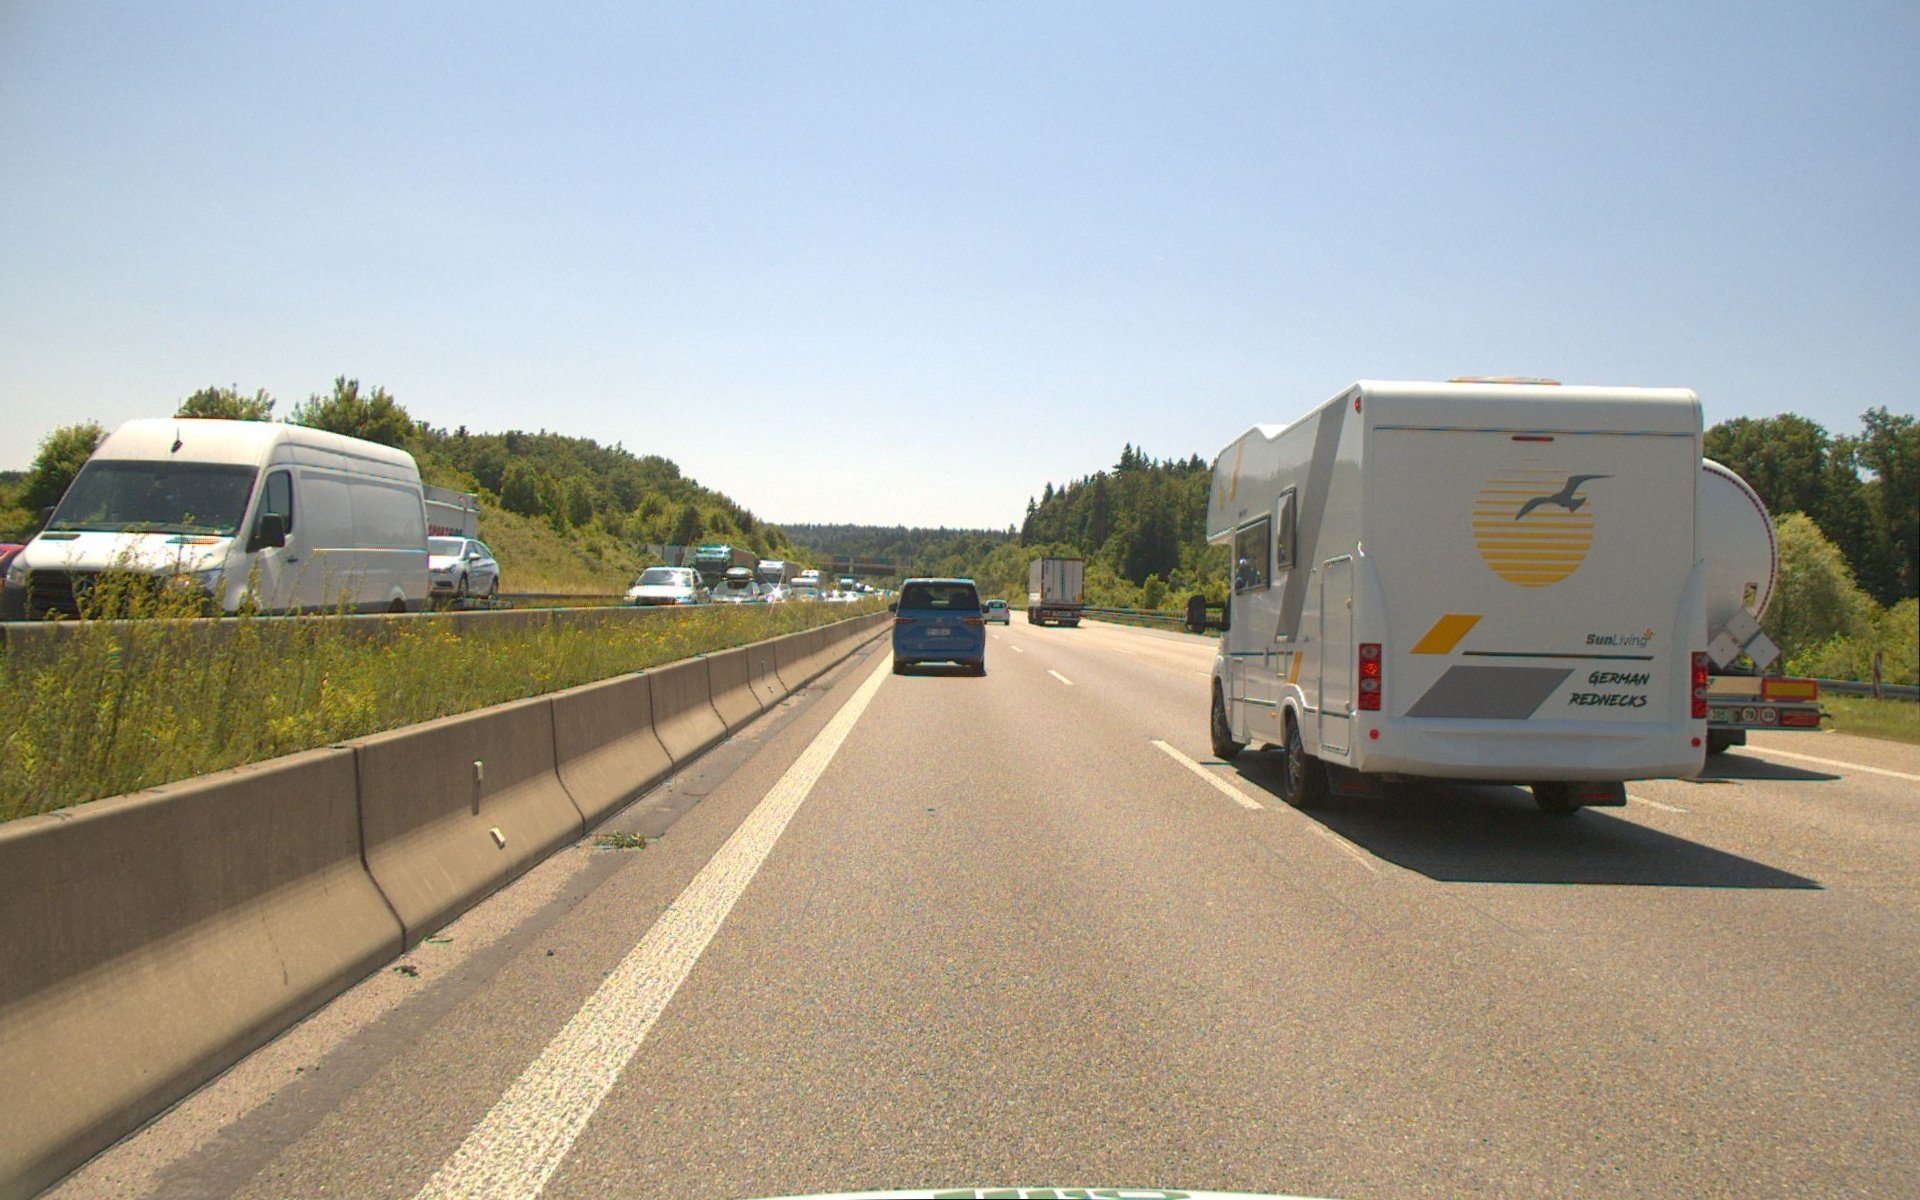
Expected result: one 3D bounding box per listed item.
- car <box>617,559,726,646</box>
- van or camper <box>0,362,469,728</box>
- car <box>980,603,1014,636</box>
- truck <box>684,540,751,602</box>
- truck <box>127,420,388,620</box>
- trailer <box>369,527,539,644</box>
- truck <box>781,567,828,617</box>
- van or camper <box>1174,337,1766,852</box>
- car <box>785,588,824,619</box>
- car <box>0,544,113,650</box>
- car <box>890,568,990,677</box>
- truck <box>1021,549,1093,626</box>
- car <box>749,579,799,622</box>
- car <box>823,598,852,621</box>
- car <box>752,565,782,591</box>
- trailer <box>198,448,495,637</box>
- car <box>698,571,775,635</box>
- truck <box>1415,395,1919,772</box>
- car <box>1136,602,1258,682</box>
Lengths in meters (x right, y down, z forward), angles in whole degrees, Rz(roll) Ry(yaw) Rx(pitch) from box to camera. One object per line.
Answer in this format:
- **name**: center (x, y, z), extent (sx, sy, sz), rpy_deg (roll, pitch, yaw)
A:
- **car**: center (-7.761, 0.075, 44.970), extent (1.953, 2.048, 5.163), rpy_deg (5, 0, 0)
- **van or camper**: center (-7.447, -0.457, 17.665), extent (1.953, 2.927, 7.640), rpy_deg (5, 0, 0)
- **car**: center (2.232, 1.183, 101.223), extent (1.781, 1.825, 3.893), rpy_deg (5, 0, -1)
- **truck**: center (-16.802, -1.893, 115.539), extent (2.932, 3.868, 12.158), rpy_deg (5, 0, -2)
- **truck**: center (-15.466, -1.627, 36.950), extent (3.386, 3.944, 5.442), rpy_deg (3, -1, -2)
- **trailer**: center (-11.130, -0.285, 36.829), extent (2.047, 2.248, 5.163), rpy_deg (5, 0, 0)
- **truck**: center (-13.269, -0.628, 141.769), extent (2.932, 3.868, 12.158), rpy_deg (5, 0, -2)
- **van or camper**: center (3.632, -0.026, 13.837), extent (2.550, 3.132, 7.180), rpy_deg (1, 0, -1)
- **car**: center (-8.767, 0.204, 93.500), extent (1.752, 1.573, 3.999), rpy_deg (5, 0, 0)
- **car**: center (-15.019, -0.058, 25.313), extent (1.760, 1.565, 4.583), rpy_deg (1, 0, -1)
- **car**: center (-0.415, 0.437, 34.226), extent (1.870, 2.049, 3.999), rpy_deg (2, 0, -1)
- **truck**: center (5.861, -0.715, 101.407), extent (3.417, 4.242, 8.640), rpy_deg (5, 0, -1)
- **car**: center (-8.493, 0.047, 75.805), extent (1.752, 1.783, 3.999), rpy_deg (5, 0, 0)
- **car**: center (-9.101, 0.699, 122.888), extent (1.752, 1.573, 3.999), rpy_deg (5, 0, 0)
- **car**: center (-17.454, -1.954, 149.886), extent (2.044, 2.099, 5.058), rpy_deg (5, 0, 0)
- **trailer**: center (-15.620, -1.363, 43.535), extent (3.506, 4.164, 11.536), rpy_deg (2, 0, -1)
- **car**: center (-7.936, 0.121, 59.238), extent (1.953, 2.048, 5.163), rpy_deg (5, 0, 0)
- **truck**: center (8.311, -0.213, 20.486), extent (2.868, 3.637, 8.525), rpy_deg (1, 1, -1)
- **car**: center (4.861, 0.827, 34.461), extent (1.870, 1.500, 3.999), rpy_deg (2, 0, -1)
